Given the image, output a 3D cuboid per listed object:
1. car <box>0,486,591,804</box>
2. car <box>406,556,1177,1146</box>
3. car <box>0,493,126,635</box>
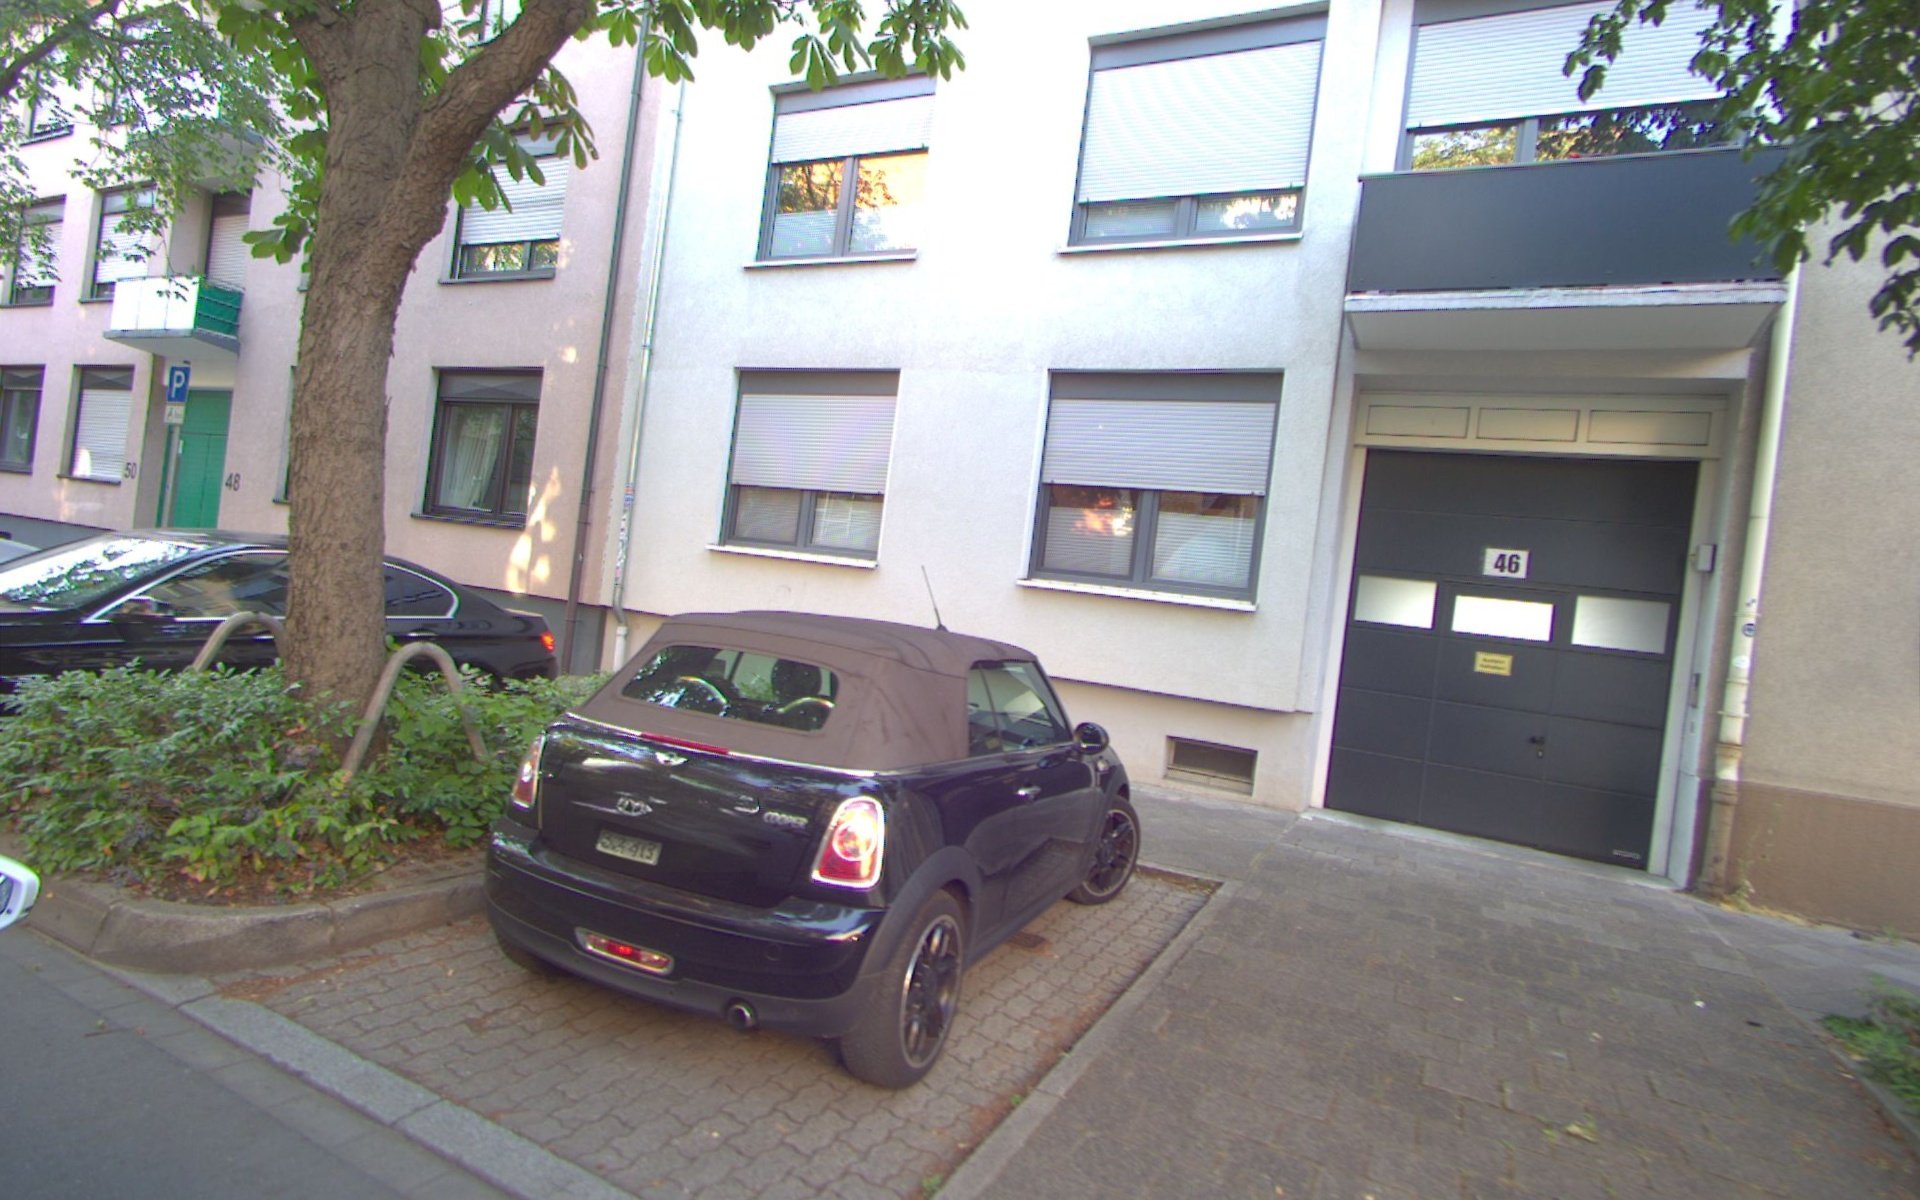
[{"bbox_3d":[-4.794,0.206,6.096,1.768,1.497,4.757,7,-1,27],"label":"car"},{"bbox_3d":[-0.260,0.751,4.579,1.634,1.380,3.621,7,-1,24],"label":"car"},{"bbox_3d":[-11.439,-0.549,10.412,1.635,1.494,3.919,7,-1,25],"label":"car"}]
